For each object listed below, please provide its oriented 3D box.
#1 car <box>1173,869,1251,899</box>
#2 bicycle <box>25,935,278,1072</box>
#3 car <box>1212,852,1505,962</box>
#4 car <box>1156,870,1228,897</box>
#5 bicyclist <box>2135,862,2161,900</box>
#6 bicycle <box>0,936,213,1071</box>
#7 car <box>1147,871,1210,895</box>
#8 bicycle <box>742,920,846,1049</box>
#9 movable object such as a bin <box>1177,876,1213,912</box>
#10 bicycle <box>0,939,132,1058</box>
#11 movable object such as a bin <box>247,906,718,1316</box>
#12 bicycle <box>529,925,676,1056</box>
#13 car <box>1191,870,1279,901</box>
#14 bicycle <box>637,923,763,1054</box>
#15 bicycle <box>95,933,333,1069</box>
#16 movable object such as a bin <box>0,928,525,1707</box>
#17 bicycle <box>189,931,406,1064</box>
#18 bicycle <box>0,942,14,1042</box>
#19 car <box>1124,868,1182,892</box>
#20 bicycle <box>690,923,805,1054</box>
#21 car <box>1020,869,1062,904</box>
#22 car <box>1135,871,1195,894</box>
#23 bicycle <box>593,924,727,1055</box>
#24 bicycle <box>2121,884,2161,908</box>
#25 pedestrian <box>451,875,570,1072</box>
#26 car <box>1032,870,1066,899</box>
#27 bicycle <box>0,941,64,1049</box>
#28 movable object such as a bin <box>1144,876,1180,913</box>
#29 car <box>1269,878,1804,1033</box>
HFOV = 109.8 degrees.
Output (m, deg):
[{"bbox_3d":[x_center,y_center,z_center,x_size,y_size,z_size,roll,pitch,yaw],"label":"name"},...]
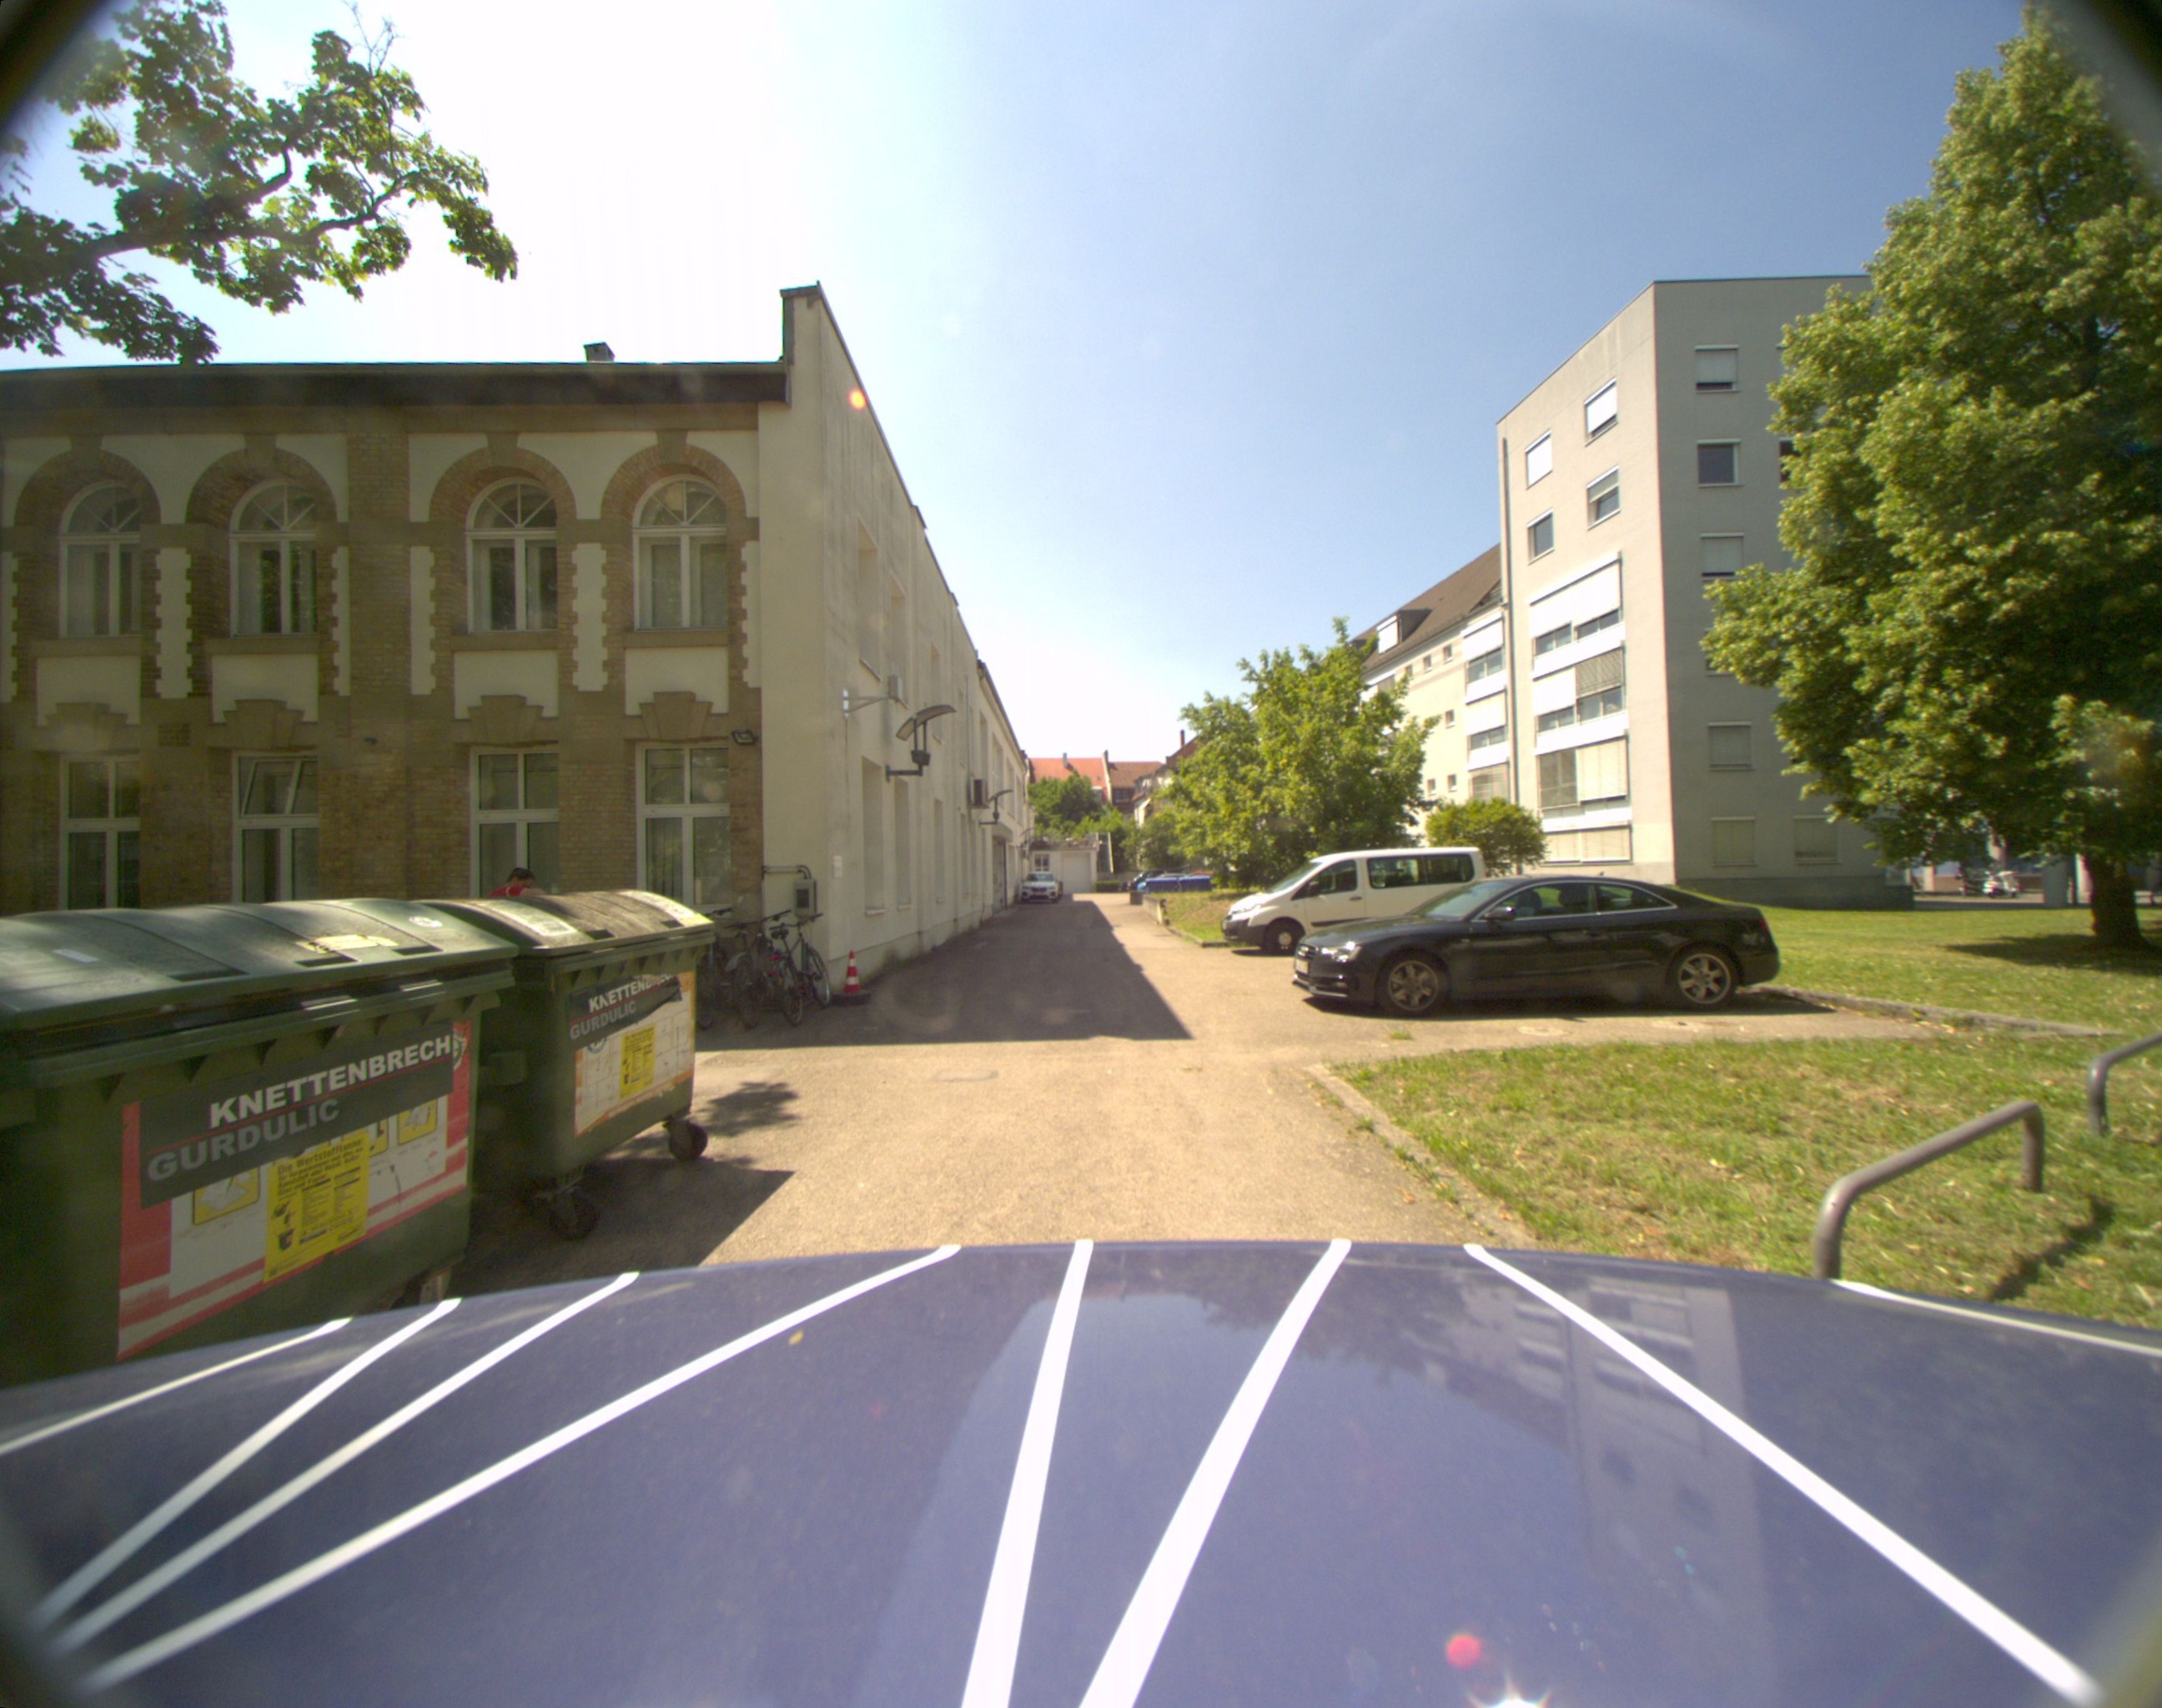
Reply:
[{"bbox_3d":[7.632,1.739,44.523,4.223,1.559,1.613,-1,0,-6],"label":"car"},{"bbox_3d":[-9.612,1.486,7.982,0.406,1.095,1.826,-1,-1,0],"label":"bicycle"},{"bbox_3d":[5.129,0.965,14.632,4.859,1.872,2.068,-1,0,2],"label":"car"},{"bbox_3d":[6.961,1.828,47.824,4.223,1.559,1.613,-1,0,-6],"label":"car"},{"bbox_3d":[29.471,0.745,20.756,0.522,1.038,0.518,-1,-3,2],"label":"bicyclist"},{"bbox_3d":[-10.324,1.501,7.938,0.406,1.095,1.826,-1,-1,0],"label":"bicycle"},{"bbox_3d":[6.972,2.066,54.439,4.223,1.559,1.613,-1,0,-6],"label":"car"},{"bbox_3d":[-3.029,1.325,8.180,0.406,1.095,1.826,-1,-1,0],"label":"bicycle"},{"bbox_3d":[4.502,1.572,30.109,1.271,1.380,1.095,-1,0,0],"label":"movable object such as a bin"},{"bbox_3d":[-11.088,1.515,7.795,0.406,1.095,1.826,-1,-1,0],"label":"bicycle"},{"bbox_3d":[-2.589,1.019,3.556,1.078,1.449,1.377,-1,0,1],"label":"movable object such as a bin"},{"bbox_3d":[-5.066,1.392,8.187,0.406,1.095,1.826,-1,-1,0],"label":"bicycle"},{"bbox_3d":[8.430,1.688,41.821,4.445,1.559,1.613,-1,0,-6],"label":"car"},{"bbox_3d":[-4.015,1.369,8.158,0.406,1.095,1.826,-1,-1,0],"label":"bicycle"},{"bbox_3d":[-9.038,1.474,8.045,0.406,1.095,1.826,-1,-1,0],"label":"bicycle"},{"bbox_3d":[-2.611,1.002,2.113,1.078,1.449,1.377,-1,0,1],"label":"movable object such as a bin"},{"bbox_3d":[-8.262,1.459,8.138,0.406,1.095,1.826,-1,-1,0],"label":"bicycle"},{"bbox_3d":[-12.271,1.539,7.668,0.406,1.095,1.826,-1,-1,0],"label":"bicycle"},{"bbox_3d":[5.713,2.060,60.429,4.223,1.812,2.009,-1,0,-6],"label":"car"},{"bbox_3d":[-3.498,1.357,8.127,0.406,1.095,1.826,-1,-1,0],"label":"bicycle"},{"bbox_3d":[-2.158,1.743,42.322,2.011,1.792,4.727,-1,-1,0],"label":"car"},{"bbox_3d":[6.347,2.136,57.494,4.223,1.559,1.613,-1,0,-6],"label":"car"},{"bbox_3d":[-4.455,1.378,8.181,0.406,1.095,1.826,-1,-1,0],"label":"bicycle"},{"bbox_3d":[29.743,1.127,20.742,1.615,0.637,0.735,-1,-3,1],"label":"bicycle"},{"bbox_3d":[-5.313,1.073,7.108,0.552,1.738,0.689,-1,0,1],"label":"pedestrian"},{"bbox_3d":[-2.110,2.004,51.125,2.011,1.792,4.727,-1,-1,0],"label":"car"},{"bbox_3d":[-11.734,1.528,7.694,0.406,1.095,1.826,-1,-1,0],"label":"bicycle"},{"bbox_3d":[3.204,1.600,30.079,1.271,1.380,1.095,-1,0,0],"label":"movable object such as a bin"},{"bbox_3d":[4.481,1.007,8.127,4.440,1.371,2.025,-1,-3,2],"label":"car"}]
